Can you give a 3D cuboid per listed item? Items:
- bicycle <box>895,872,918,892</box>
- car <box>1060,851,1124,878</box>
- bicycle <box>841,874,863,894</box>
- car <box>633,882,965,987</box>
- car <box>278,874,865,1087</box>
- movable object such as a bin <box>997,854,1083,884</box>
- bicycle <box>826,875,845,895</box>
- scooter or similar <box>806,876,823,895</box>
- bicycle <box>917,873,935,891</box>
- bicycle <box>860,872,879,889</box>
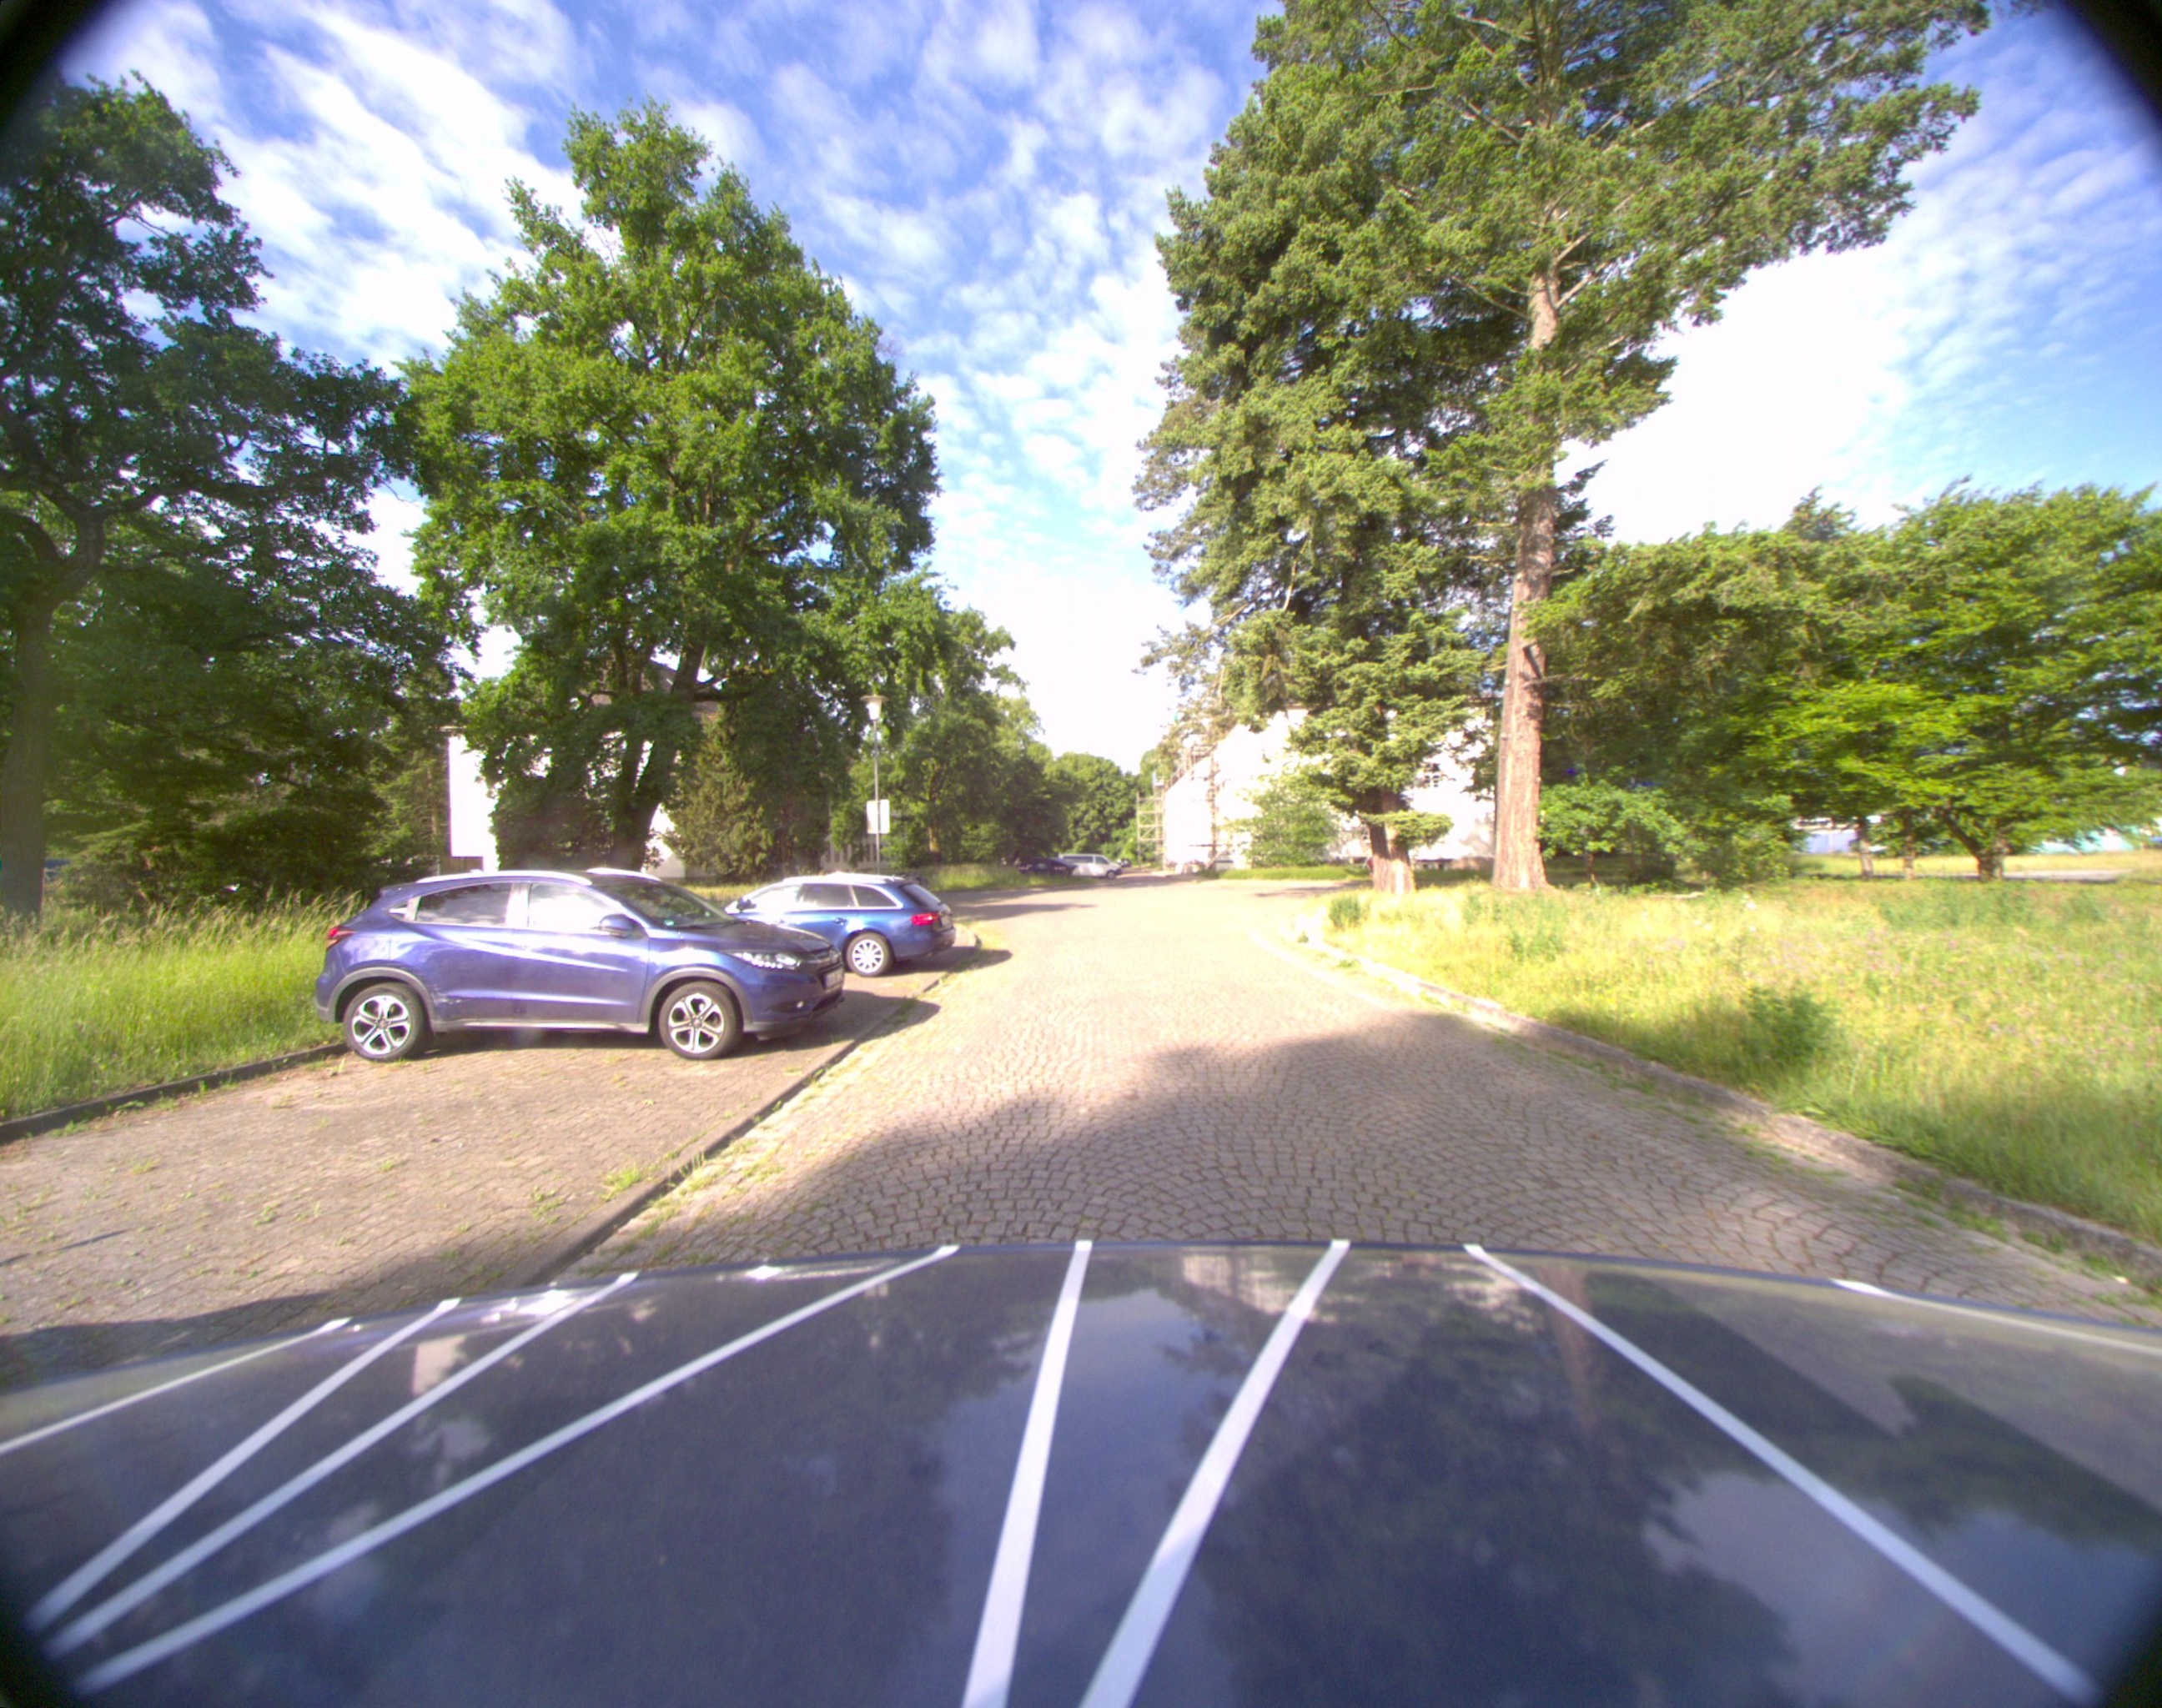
[{"bbox_3d":[-9.265,1.464,40.390,0.710,1.010,1.257,-1,0,9],"label":"bicycle"},{"bbox_3d":[0.904,0.794,60.331,4.936,2.002,2.000,-1,0,1],"label":"car"},{"bbox_3d":[-12.393,1.626,41.125,0.710,1.010,1.028,-1,0,9],"label":"bicycle"},{"bbox_3d":[-4.175,1.167,11.659,4.459,1.399,1.714,0,0,4],"label":"car"},{"bbox_3d":[-4.360,1.049,6.991,4.187,1.581,1.751,-1,0,1],"label":"car"},{"bbox_3d":[-2.535,0.931,47.527,4.931,1.749,2.002,-1,0,16],"label":"movable object such as a bin"},{"bbox_3d":[-13.163,1.650,40.767,0.619,1.010,1.027,-1,0,4],"label":"bicycle"},{"bbox_3d":[-14.074,1.662,40.098,0.769,0.924,0.261,-1,0,-5],"label":"scooter or similar"},{"bbox_3d":[-8.295,1.510,40.777,0.747,0.929,1.140,-1,0,-2],"label":"bicycle"},{"bbox_3d":[-12.591,1.562,45.251,0.712,1.010,1.024,-2,0,-36],"label":"bicycle"}]
